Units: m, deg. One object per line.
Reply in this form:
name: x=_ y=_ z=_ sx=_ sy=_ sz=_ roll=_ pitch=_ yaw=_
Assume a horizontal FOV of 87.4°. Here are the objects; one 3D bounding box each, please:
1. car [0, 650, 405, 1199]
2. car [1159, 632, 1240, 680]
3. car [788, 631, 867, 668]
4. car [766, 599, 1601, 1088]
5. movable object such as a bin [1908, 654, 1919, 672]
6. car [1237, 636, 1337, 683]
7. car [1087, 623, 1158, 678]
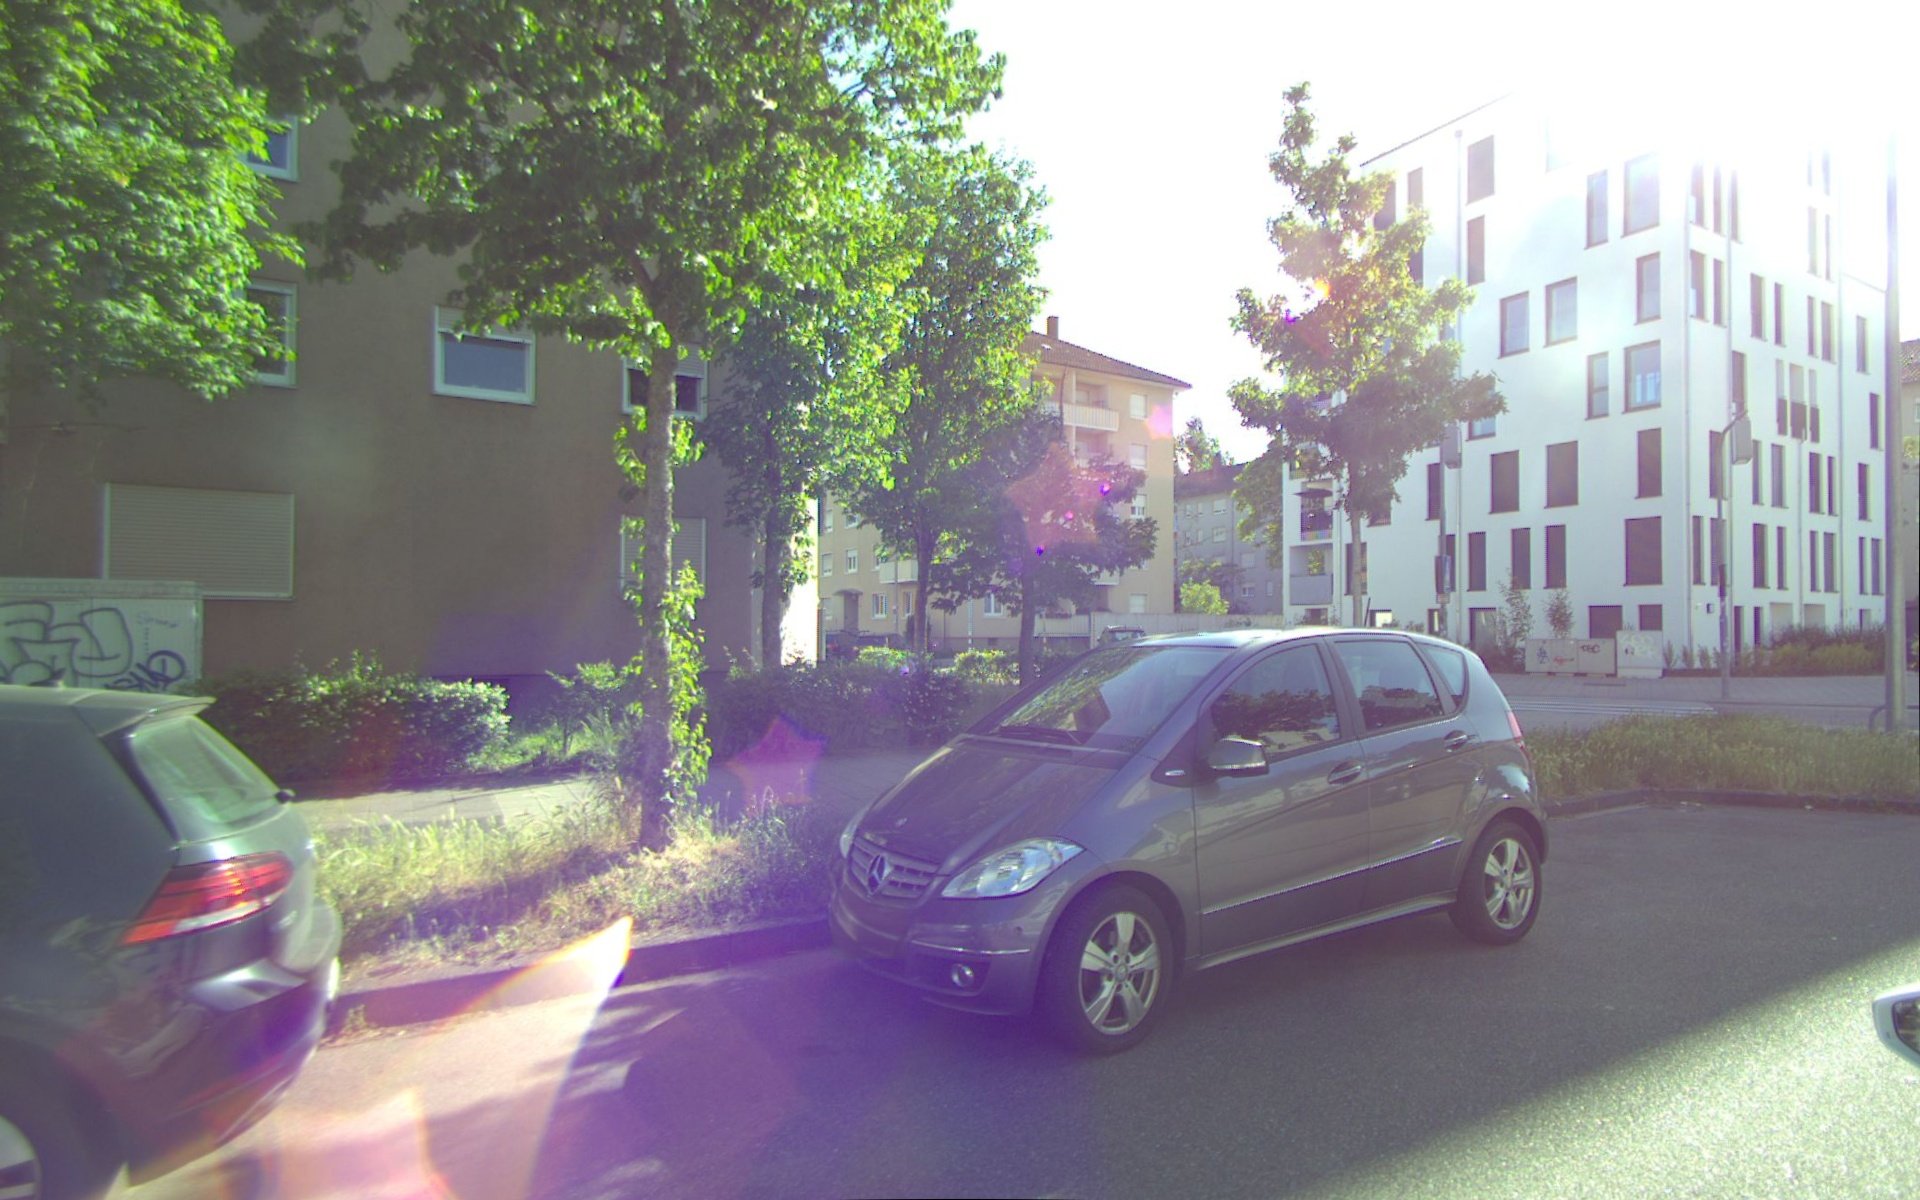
car: x=-3.586 y=0.864 z=2.236 sx=4.045 sy=1.413 sz=1.651 roll=2 pitch=0 yaw=-31
car: x=7.822 y=1.810 z=33.211 sx=1.960 sy=1.450 sz=4.567 roll=-1 pitch=-2 yaw=5
car: x=-5.438 y=2.019 z=41.776 sx=1.959 sy=1.327 sz=4.002 roll=1 pitch=0 yaw=13
car: x=1.254 y=0.882 z=5.073 sx=4.061 sy=1.583 sz=1.712 roll=2 pitch=-3 yaw=-31
movable object such as a bin: x=29.574 y=1.946 z=30.879 sx=0.674 sy=0.549 sz=0.272 roll=1 pitch=-1 yaw=-10
car: x=9.888 y=1.773 z=30.735 sx=1.960 sy=1.183 sz=4.566 roll=-1 pitch=0 yaw=5
car: x=5.478 y=1.672 z=34.229 sx=1.960 sy=1.673 sz=4.001 roll=-1 pitch=0 yaw=3
